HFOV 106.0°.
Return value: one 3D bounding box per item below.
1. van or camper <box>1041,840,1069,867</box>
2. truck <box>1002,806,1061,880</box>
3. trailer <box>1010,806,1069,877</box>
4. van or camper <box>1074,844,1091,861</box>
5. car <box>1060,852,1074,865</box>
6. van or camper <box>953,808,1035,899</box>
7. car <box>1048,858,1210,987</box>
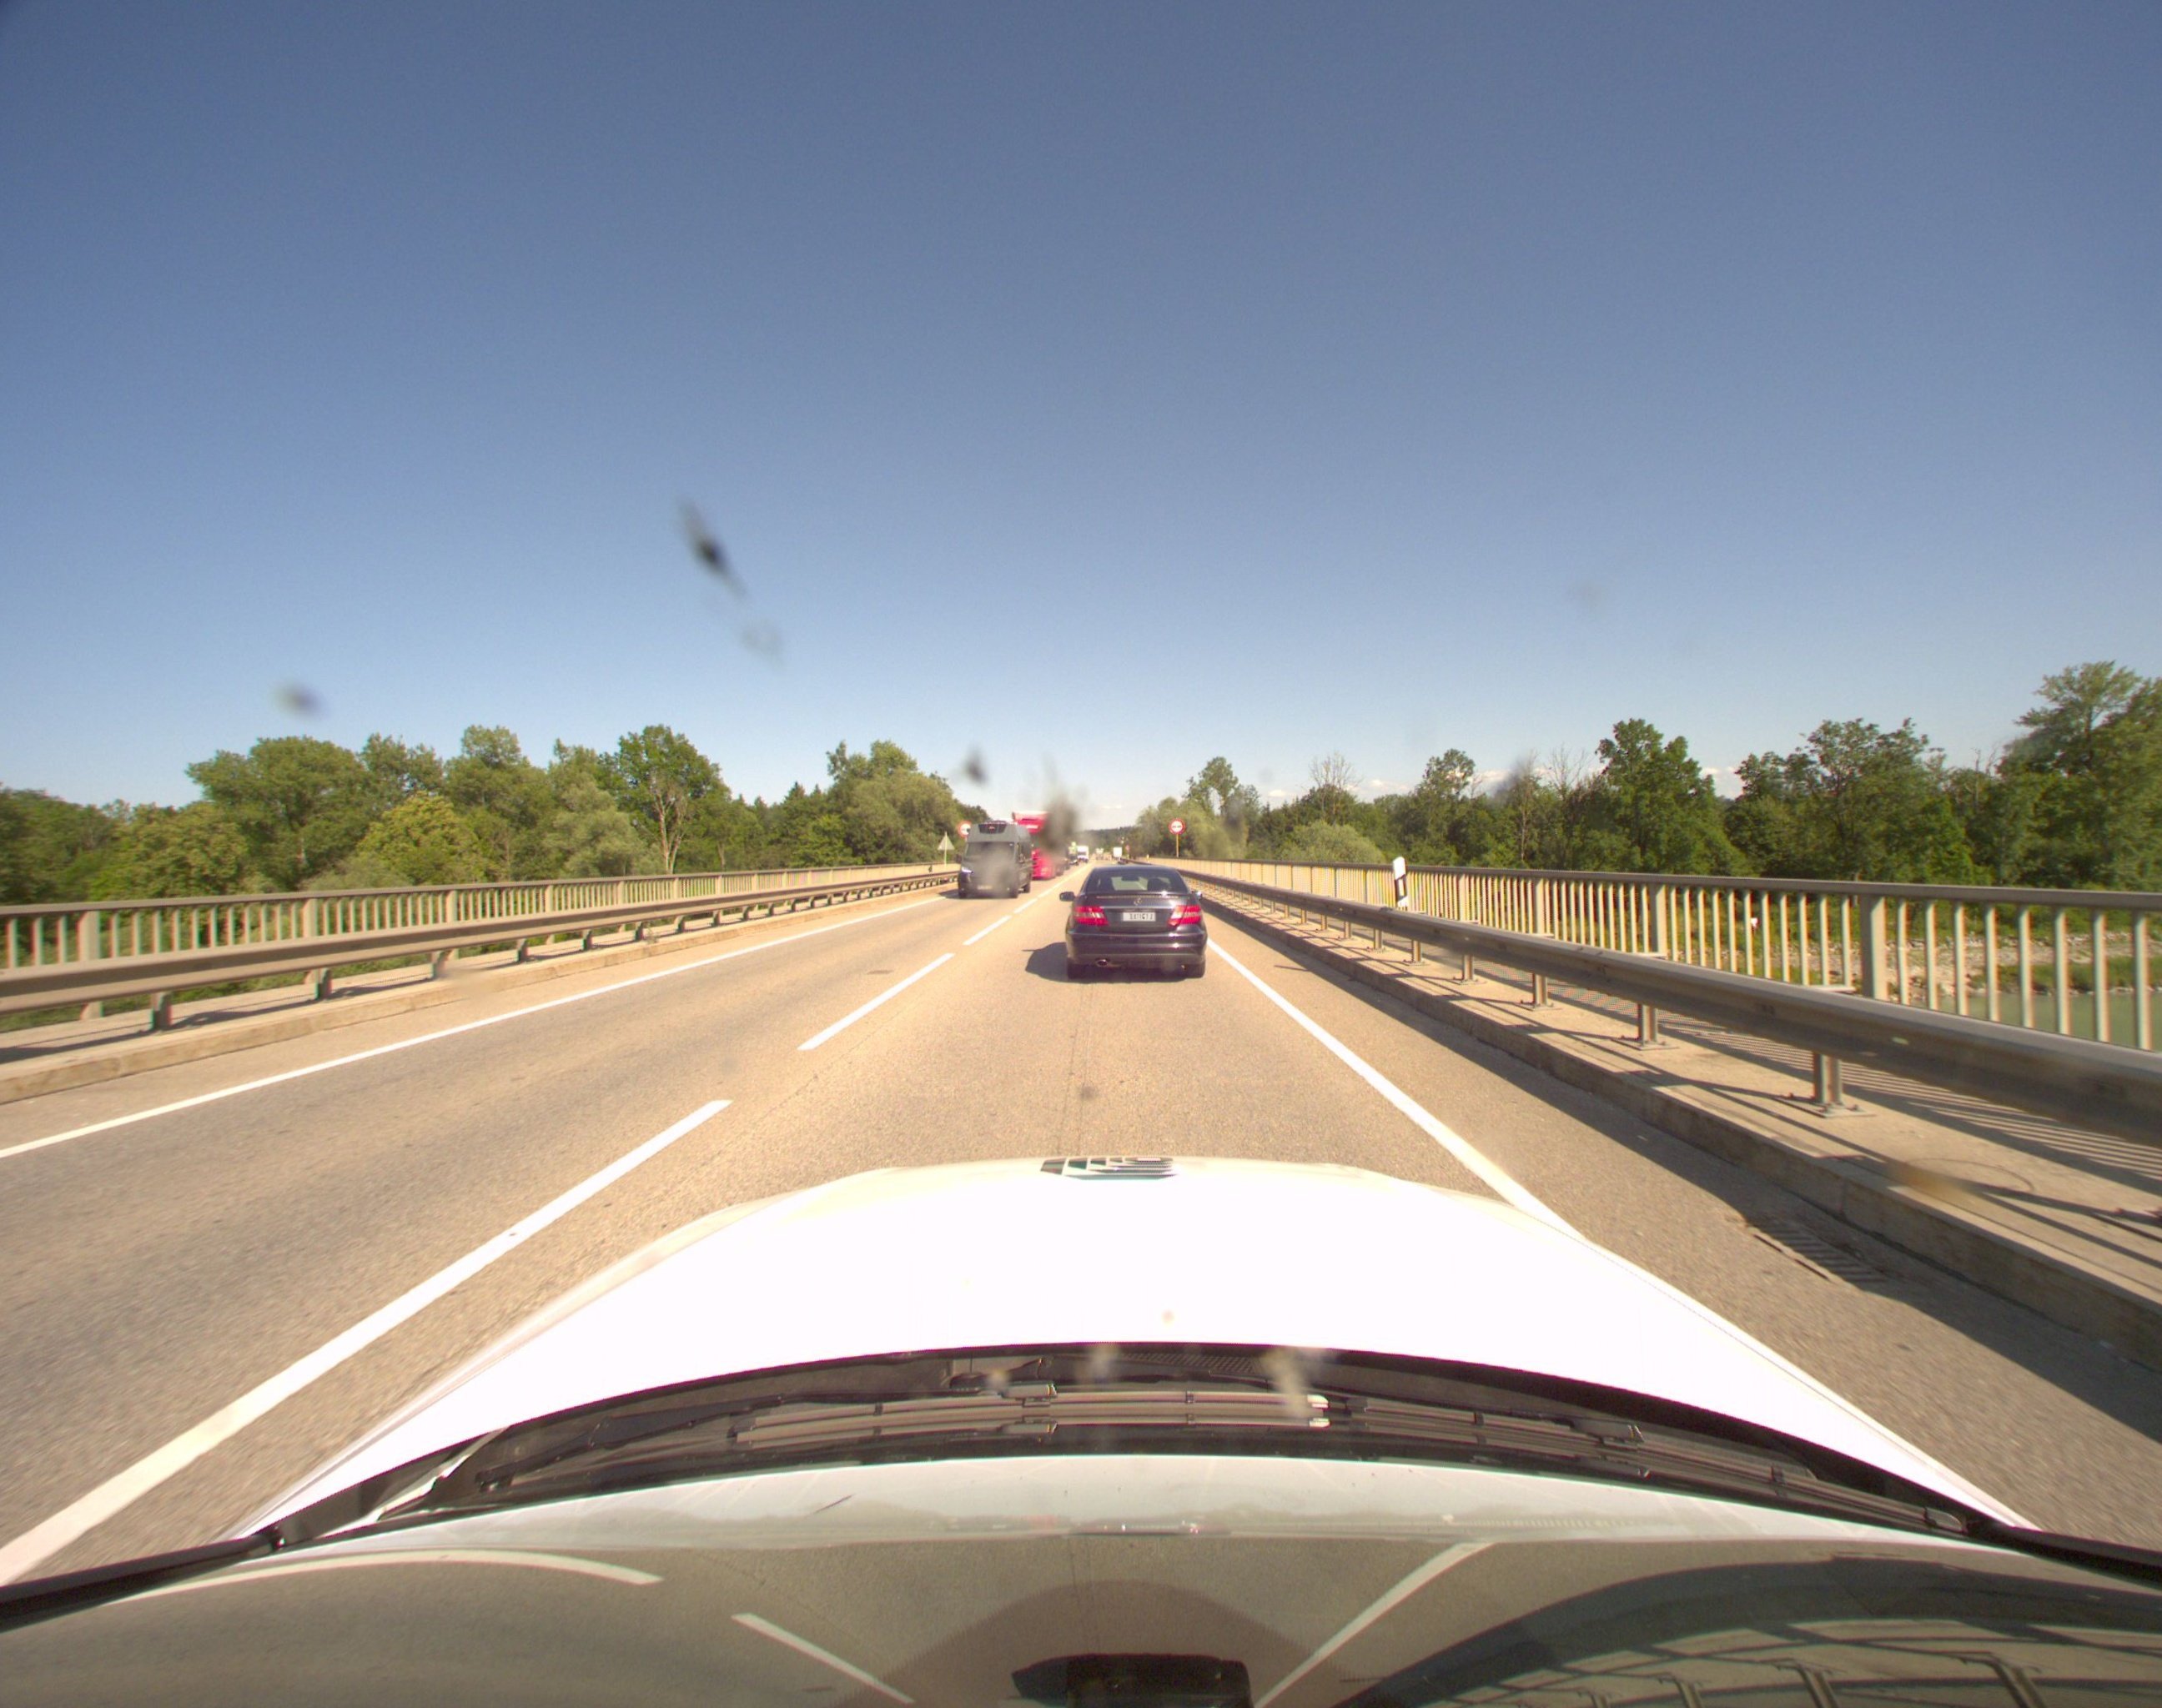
[{"bbox_3d":[-2.604,-0.075,82.757,2.421,2.642,6.407,-1,0,2],"label":"van or camper"},{"bbox_3d":[-2.892,-0.655,49.184,2.896,4.184,5.716,-1,0,2],"label":"truck"},{"bbox_3d":[-2.605,-0.748,56.596,2.896,4.302,14.307,0,0,2],"label":"trailer"},{"bbox_3d":[0.341,-0.351,158.126,2.623,3.256,7.759,0,0,5],"label":"van or camper"},{"bbox_3d":[-1.909,0.612,112.171,1.836,1.642,4.574,0,0,-2],"label":"car"},{"bbox_3d":[-3.131,-0.026,30.861,2.307,3.051,6.817,0,0,1],"label":"van or camper"},{"bbox_3d":[0.635,0.778,11.122,1.786,1.376,4.003,-1,0,3],"label":"car"}]
